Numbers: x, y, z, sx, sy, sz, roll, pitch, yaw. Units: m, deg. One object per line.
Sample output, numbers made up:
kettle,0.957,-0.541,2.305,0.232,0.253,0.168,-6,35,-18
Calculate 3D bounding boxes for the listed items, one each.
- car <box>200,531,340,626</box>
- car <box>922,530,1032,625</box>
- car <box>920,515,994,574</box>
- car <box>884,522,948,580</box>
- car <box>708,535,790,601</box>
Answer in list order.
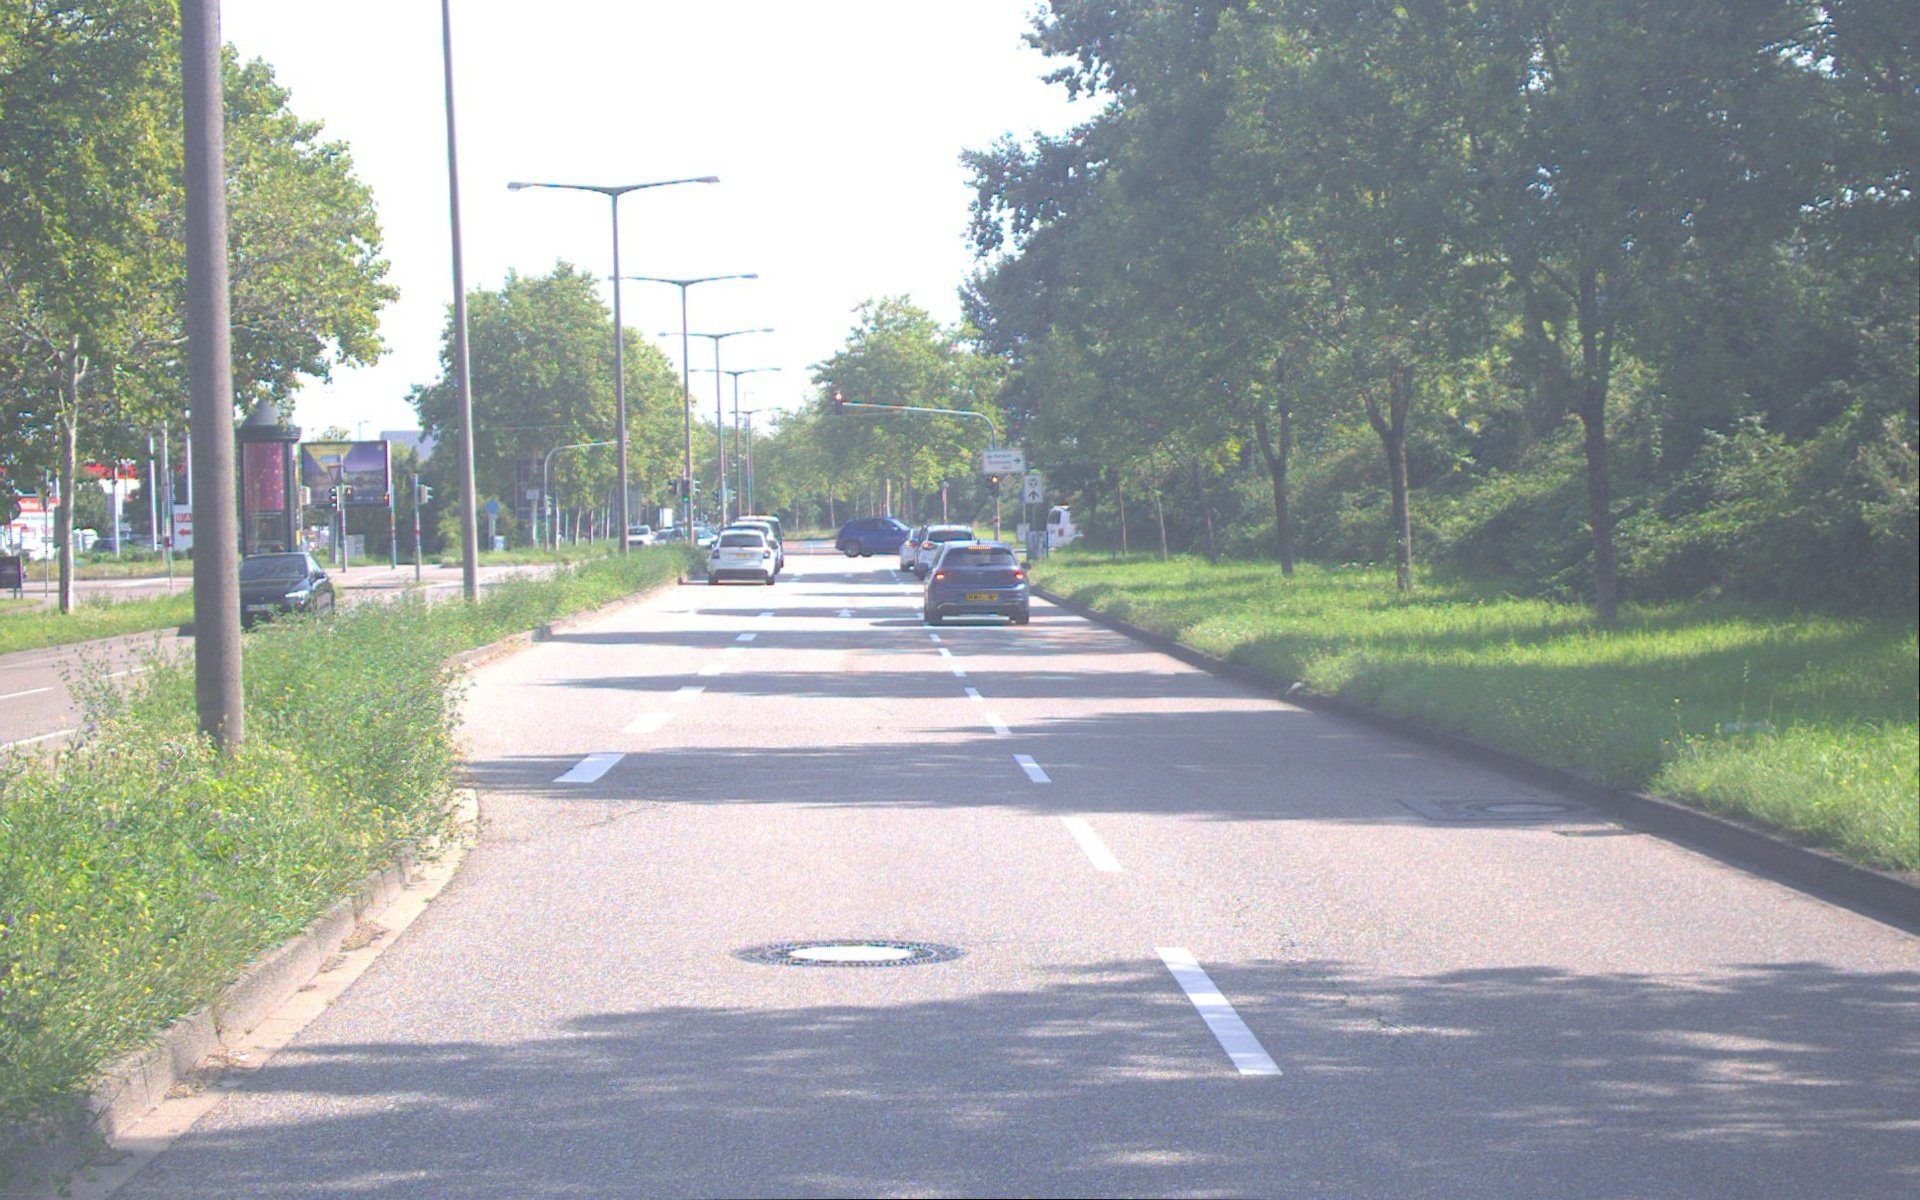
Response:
car,-12.996,-0.436,64.932,1.993,1.556,4.001,0,4,-2
car,0.268,-0.422,60.393,1.780,1.423,4.001,1,4,-2
car,-0.117,-1.620,100.727,1.993,1.648,4.000,-2,1,-2
car,-1.471,-1.643,114.021,1.993,1.648,4.001,0,4,-2
car,-5.660,-0.882,92.659,1.993,1.696,4.000,-2,1,-1
